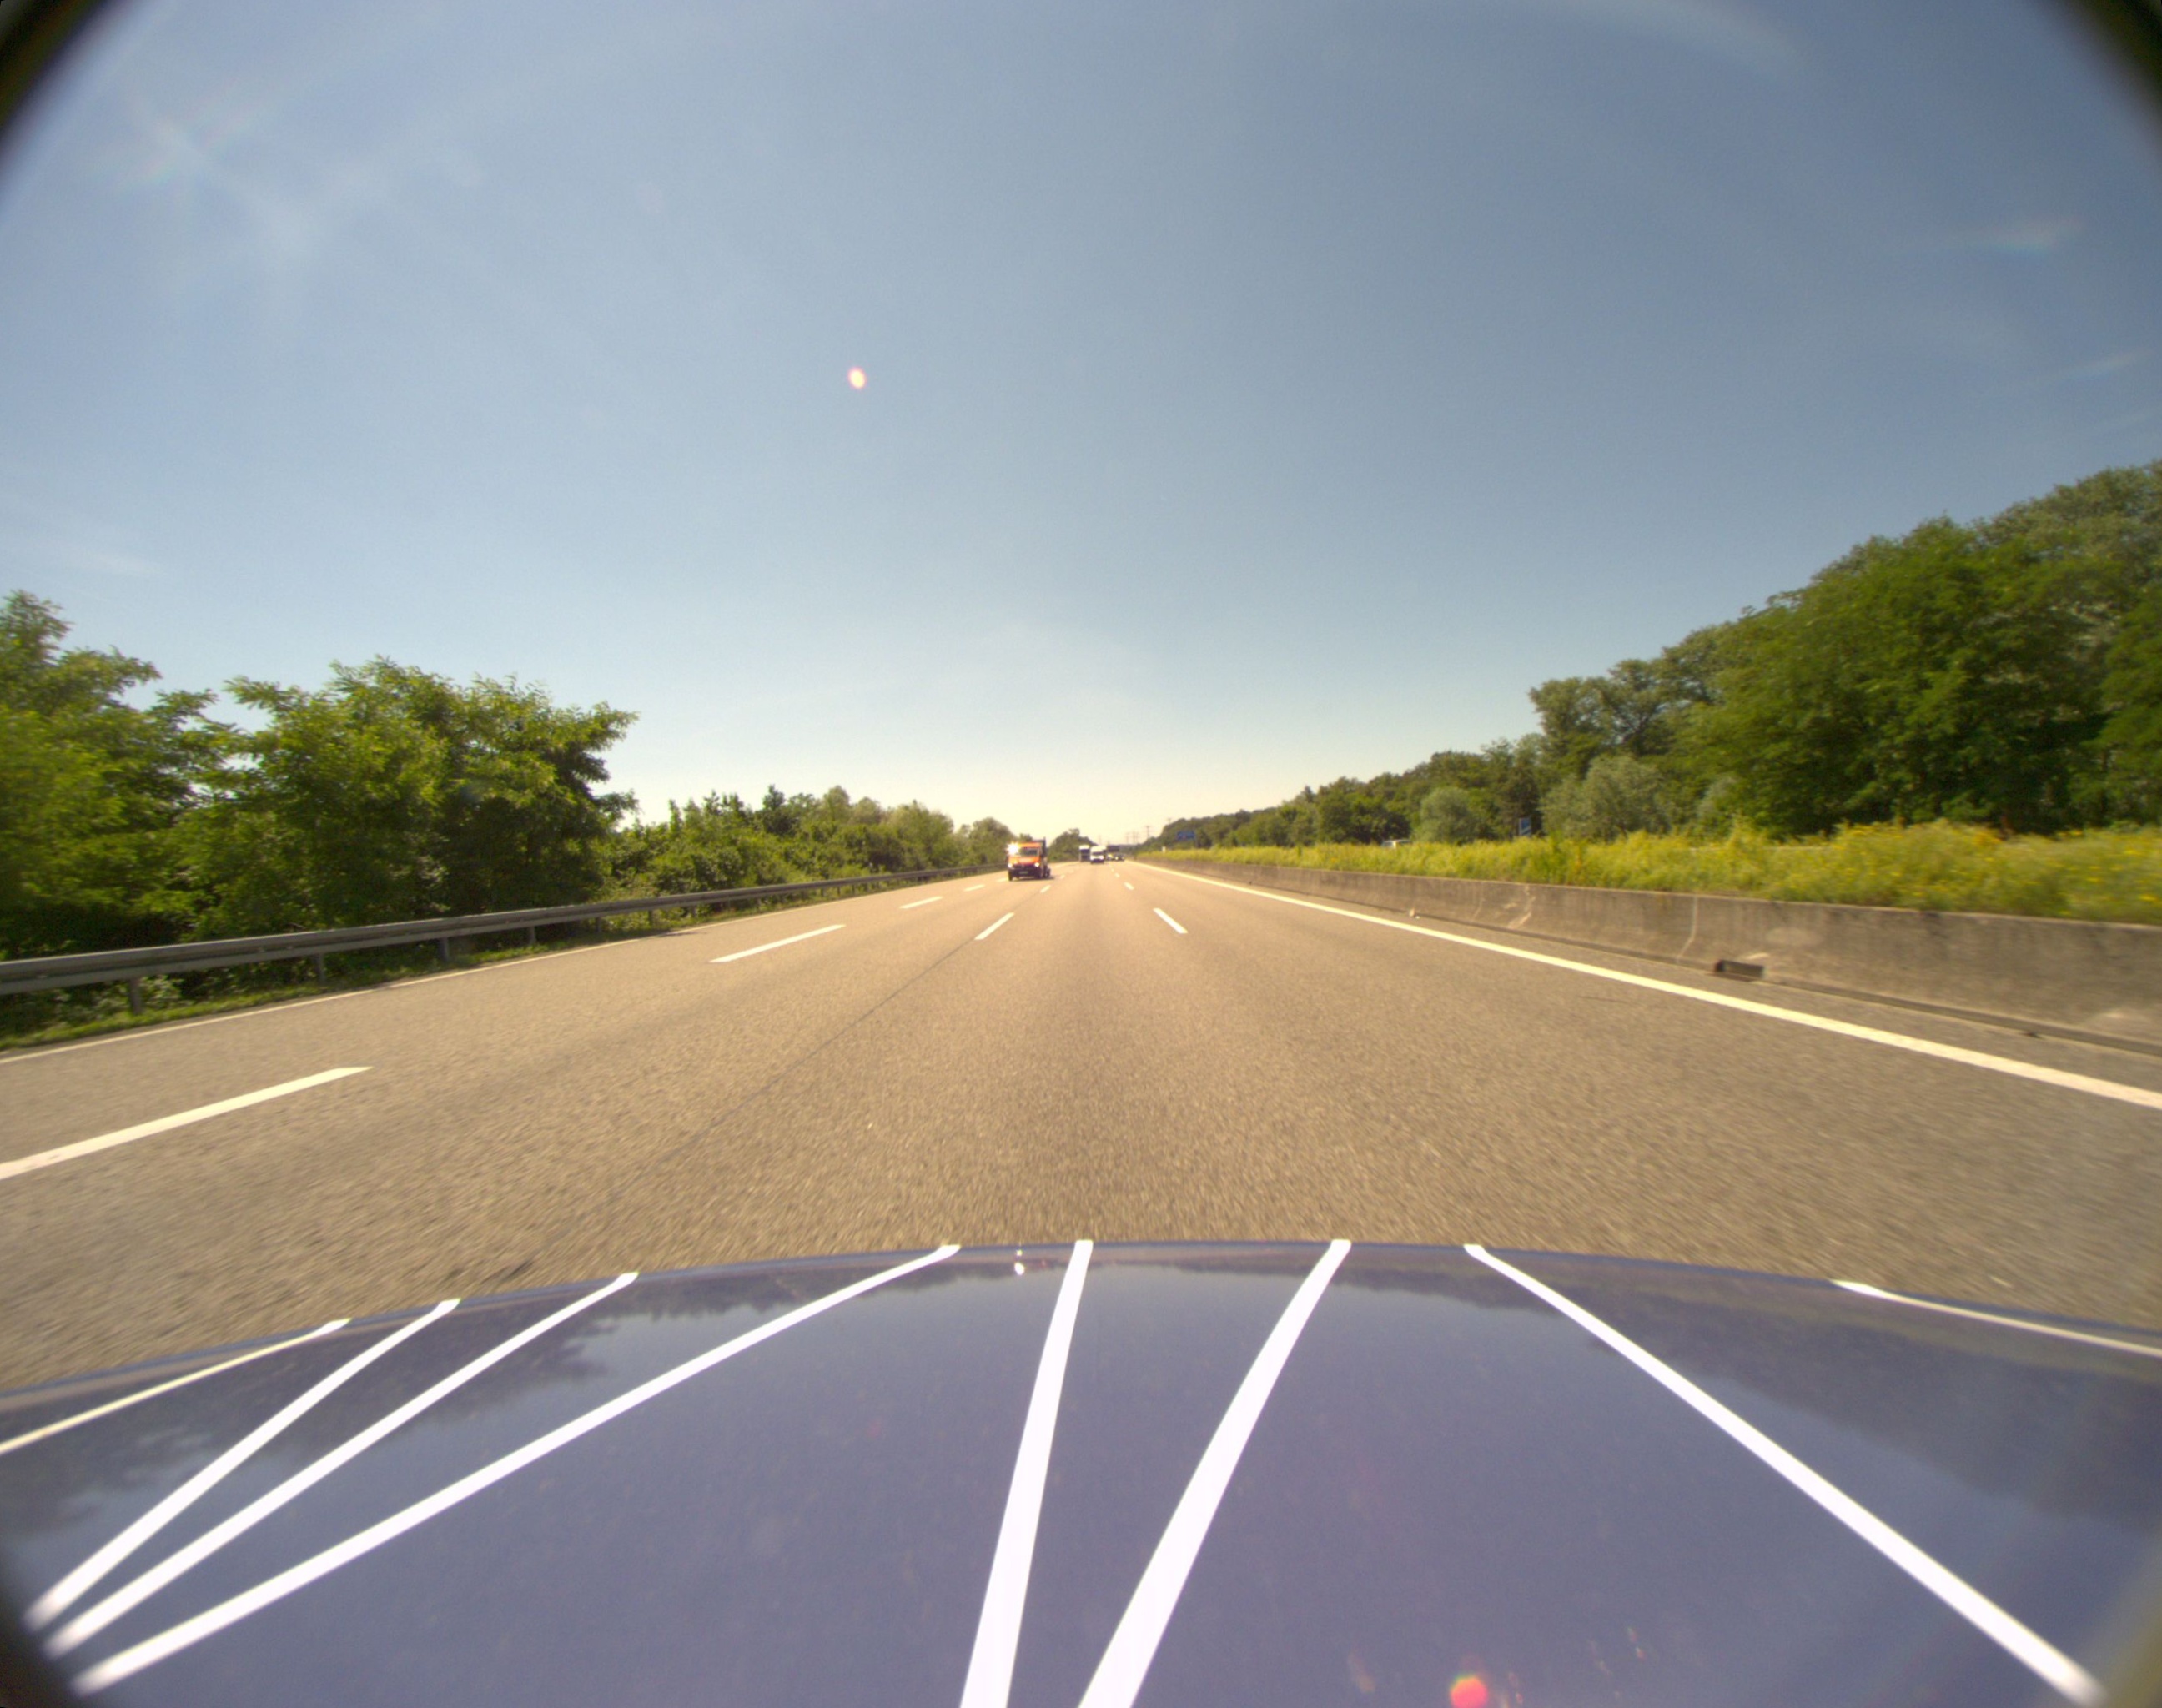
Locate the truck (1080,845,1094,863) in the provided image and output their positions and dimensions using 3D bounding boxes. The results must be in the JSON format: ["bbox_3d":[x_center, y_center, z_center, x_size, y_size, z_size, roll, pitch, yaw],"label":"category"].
[{"bbox_3d":[1.572,0.037,191.891,2.990,4.186,7.595,-3,0,4],"label":"truck"}]

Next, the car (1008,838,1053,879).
[{"bbox_3d":[-3.225,0.281,49.694,1.998,2.391,7.228,-3,0,3],"label":"car"}]

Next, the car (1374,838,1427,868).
[{"bbox_3d":[22.291,-0.088,53.129,1.998,2.002,4.000,-2,0,1],"label":"car"}]

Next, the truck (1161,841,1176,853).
[{"bbox_3d":[30.543,-2.284,266.122,3.607,3.713,17.487,-2,0,1],"label":"truck"}]

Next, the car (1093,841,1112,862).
[{"bbox_3d":[3.348,-0.344,116.895,2.521,2.856,6.402,-5,0,4],"label":"car"}]

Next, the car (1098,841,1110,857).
[{"bbox_3d":[6.274,-1.464,206.433,2.796,4.090,7.305,-2,1,1],"label":"car"}]

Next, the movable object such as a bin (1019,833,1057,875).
[{"bbox_3d":[-3.077,0.008,55.760,2.179,2.799,4.762,-3,0,3],"label":"movable object such as a bin"}]

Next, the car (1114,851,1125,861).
[{"bbox_3d":[7.958,0.412,156.513,1.999,2.001,4.000,-2,-1,-1],"label":"car"}]
